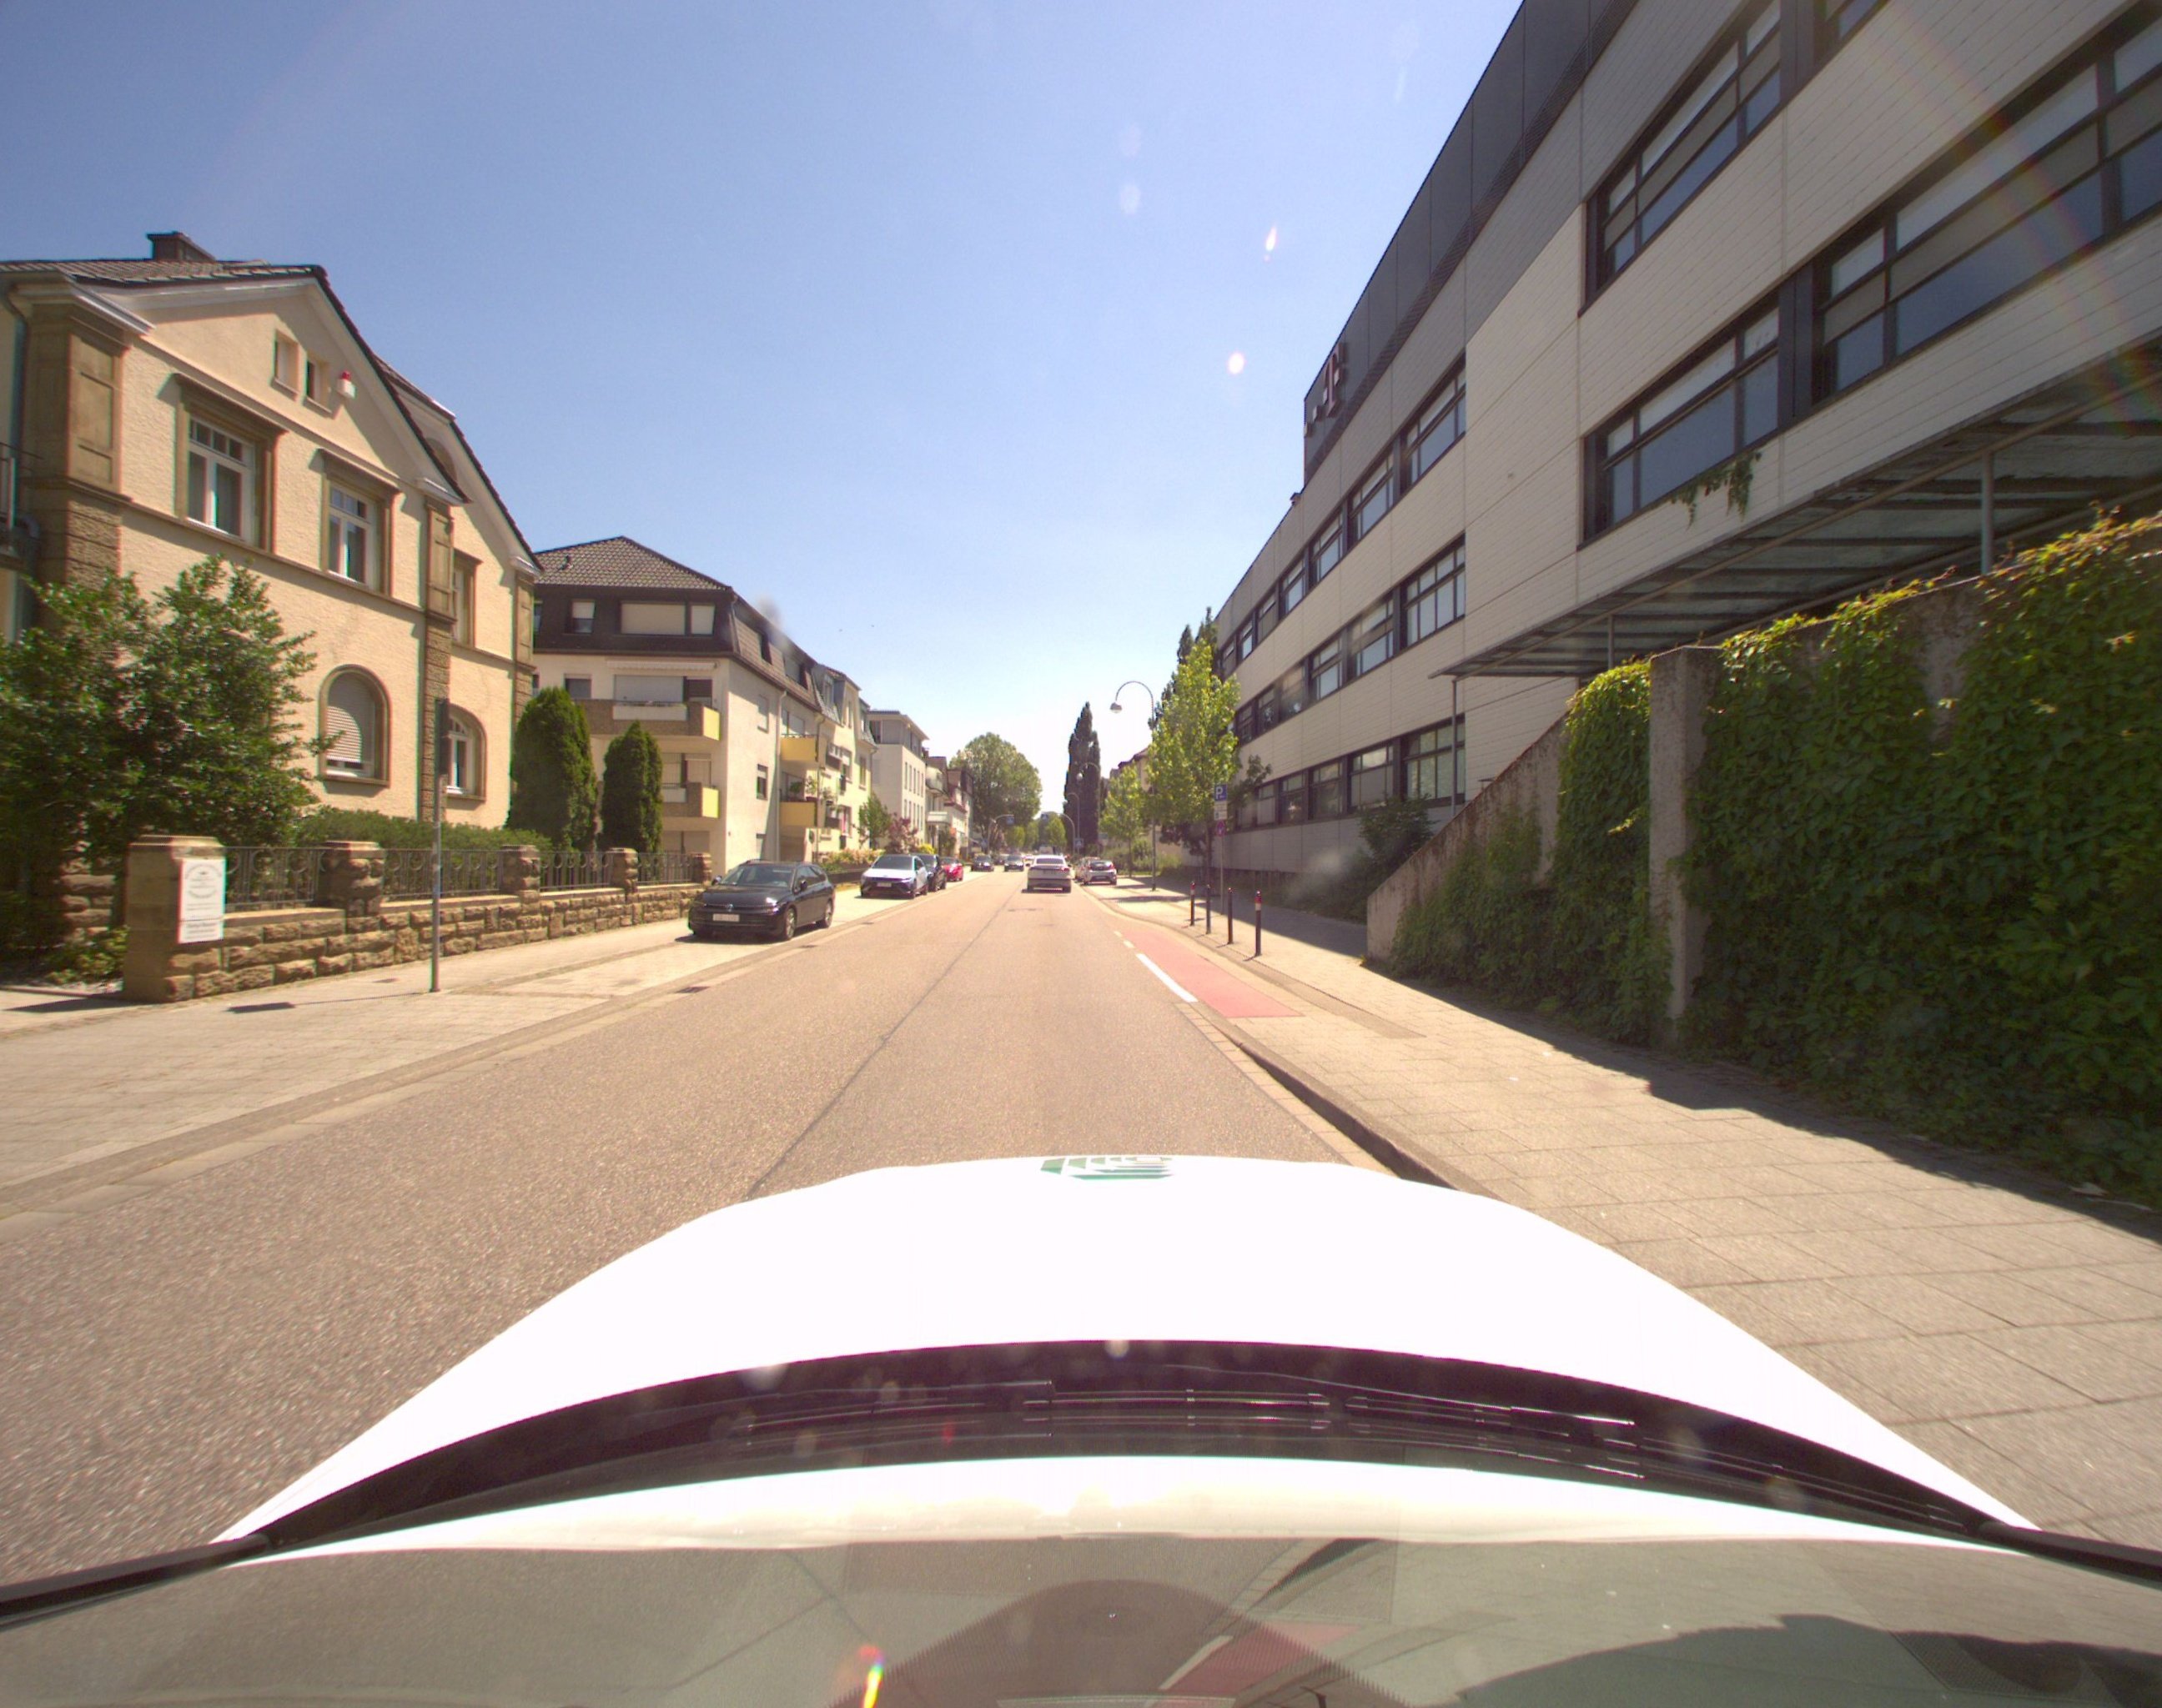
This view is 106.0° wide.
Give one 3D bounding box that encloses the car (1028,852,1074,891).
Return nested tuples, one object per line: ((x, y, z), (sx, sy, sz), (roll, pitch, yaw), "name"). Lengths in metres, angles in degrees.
((-1.363, 0.754, 36.848), (1.931, 1.614, 4.467), (1, 0, -2), "car")

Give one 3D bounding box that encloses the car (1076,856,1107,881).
((0.597, 0.918, 51.634), (1.655, 1.488, 4.340), (-1, 0, -3), "car")

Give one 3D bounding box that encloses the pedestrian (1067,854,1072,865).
((-1.771, 0.811, 129.321), (0.693, 1.736, 0.666), (0, -1, -7), "pedestrian")

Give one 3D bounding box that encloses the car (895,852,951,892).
((-7.114, 0.794, 37.114), (1.720, 1.619, 4.567), (3, -1, -2), "car")

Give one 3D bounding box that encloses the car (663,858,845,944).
((-6.476, 0.848, 16.793), (1.921, 1.436, 4.655), (3, -1, -2), "car")

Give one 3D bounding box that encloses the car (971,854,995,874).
((-9.057, 0.919, 75.555), (1.921, 1.720, 4.468), (0, 0, -2), "car")

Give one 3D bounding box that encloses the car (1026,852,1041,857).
((-13.729, 0.131, 233.751), (3.969, 1.651, 2.002), (0, 0, 4), "car")

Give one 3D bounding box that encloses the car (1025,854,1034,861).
((-10.552, 0.680, 167.347), (1.974, 1.520, 3.995), (0, 0, -4), "car")

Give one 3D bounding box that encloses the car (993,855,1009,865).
((-10.743, 0.840, 109.193), (1.989, 1.349, 3.995), (0, 0, -4), "car")

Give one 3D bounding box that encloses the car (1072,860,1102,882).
((0.376, 1.137, 56.374), (1.722, 1.383, 4.396), (-1, 0, -3), "car")

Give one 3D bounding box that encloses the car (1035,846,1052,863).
((-4.866, 0.056, 106.299), (2.066, 2.197, 5.130), (-1, 0, -4), "car")

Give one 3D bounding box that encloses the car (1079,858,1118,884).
((0.953, 0.947, 45.992), (1.859, 1.373, 3.994), (0, 0, -4), "car")

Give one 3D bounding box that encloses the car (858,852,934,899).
((-7.025, 0.786, 31.381), (1.921, 1.573, 4.655), (3, -1, -2), "car")

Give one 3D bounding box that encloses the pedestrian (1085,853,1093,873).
((0.745, 0.758, 71.950), (0.637, 1.758, 0.615), (0, -1, -7), "pedestrian")

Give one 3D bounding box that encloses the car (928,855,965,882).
((-7.945, 0.839, 48.433), (1.646, 1.419, 3.901), (3, -1, -3), "car")

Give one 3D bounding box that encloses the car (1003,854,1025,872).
((-6.445, 0.881, 78.442), (1.970, 1.671, 4.465), (0, 0, -4), "car")
